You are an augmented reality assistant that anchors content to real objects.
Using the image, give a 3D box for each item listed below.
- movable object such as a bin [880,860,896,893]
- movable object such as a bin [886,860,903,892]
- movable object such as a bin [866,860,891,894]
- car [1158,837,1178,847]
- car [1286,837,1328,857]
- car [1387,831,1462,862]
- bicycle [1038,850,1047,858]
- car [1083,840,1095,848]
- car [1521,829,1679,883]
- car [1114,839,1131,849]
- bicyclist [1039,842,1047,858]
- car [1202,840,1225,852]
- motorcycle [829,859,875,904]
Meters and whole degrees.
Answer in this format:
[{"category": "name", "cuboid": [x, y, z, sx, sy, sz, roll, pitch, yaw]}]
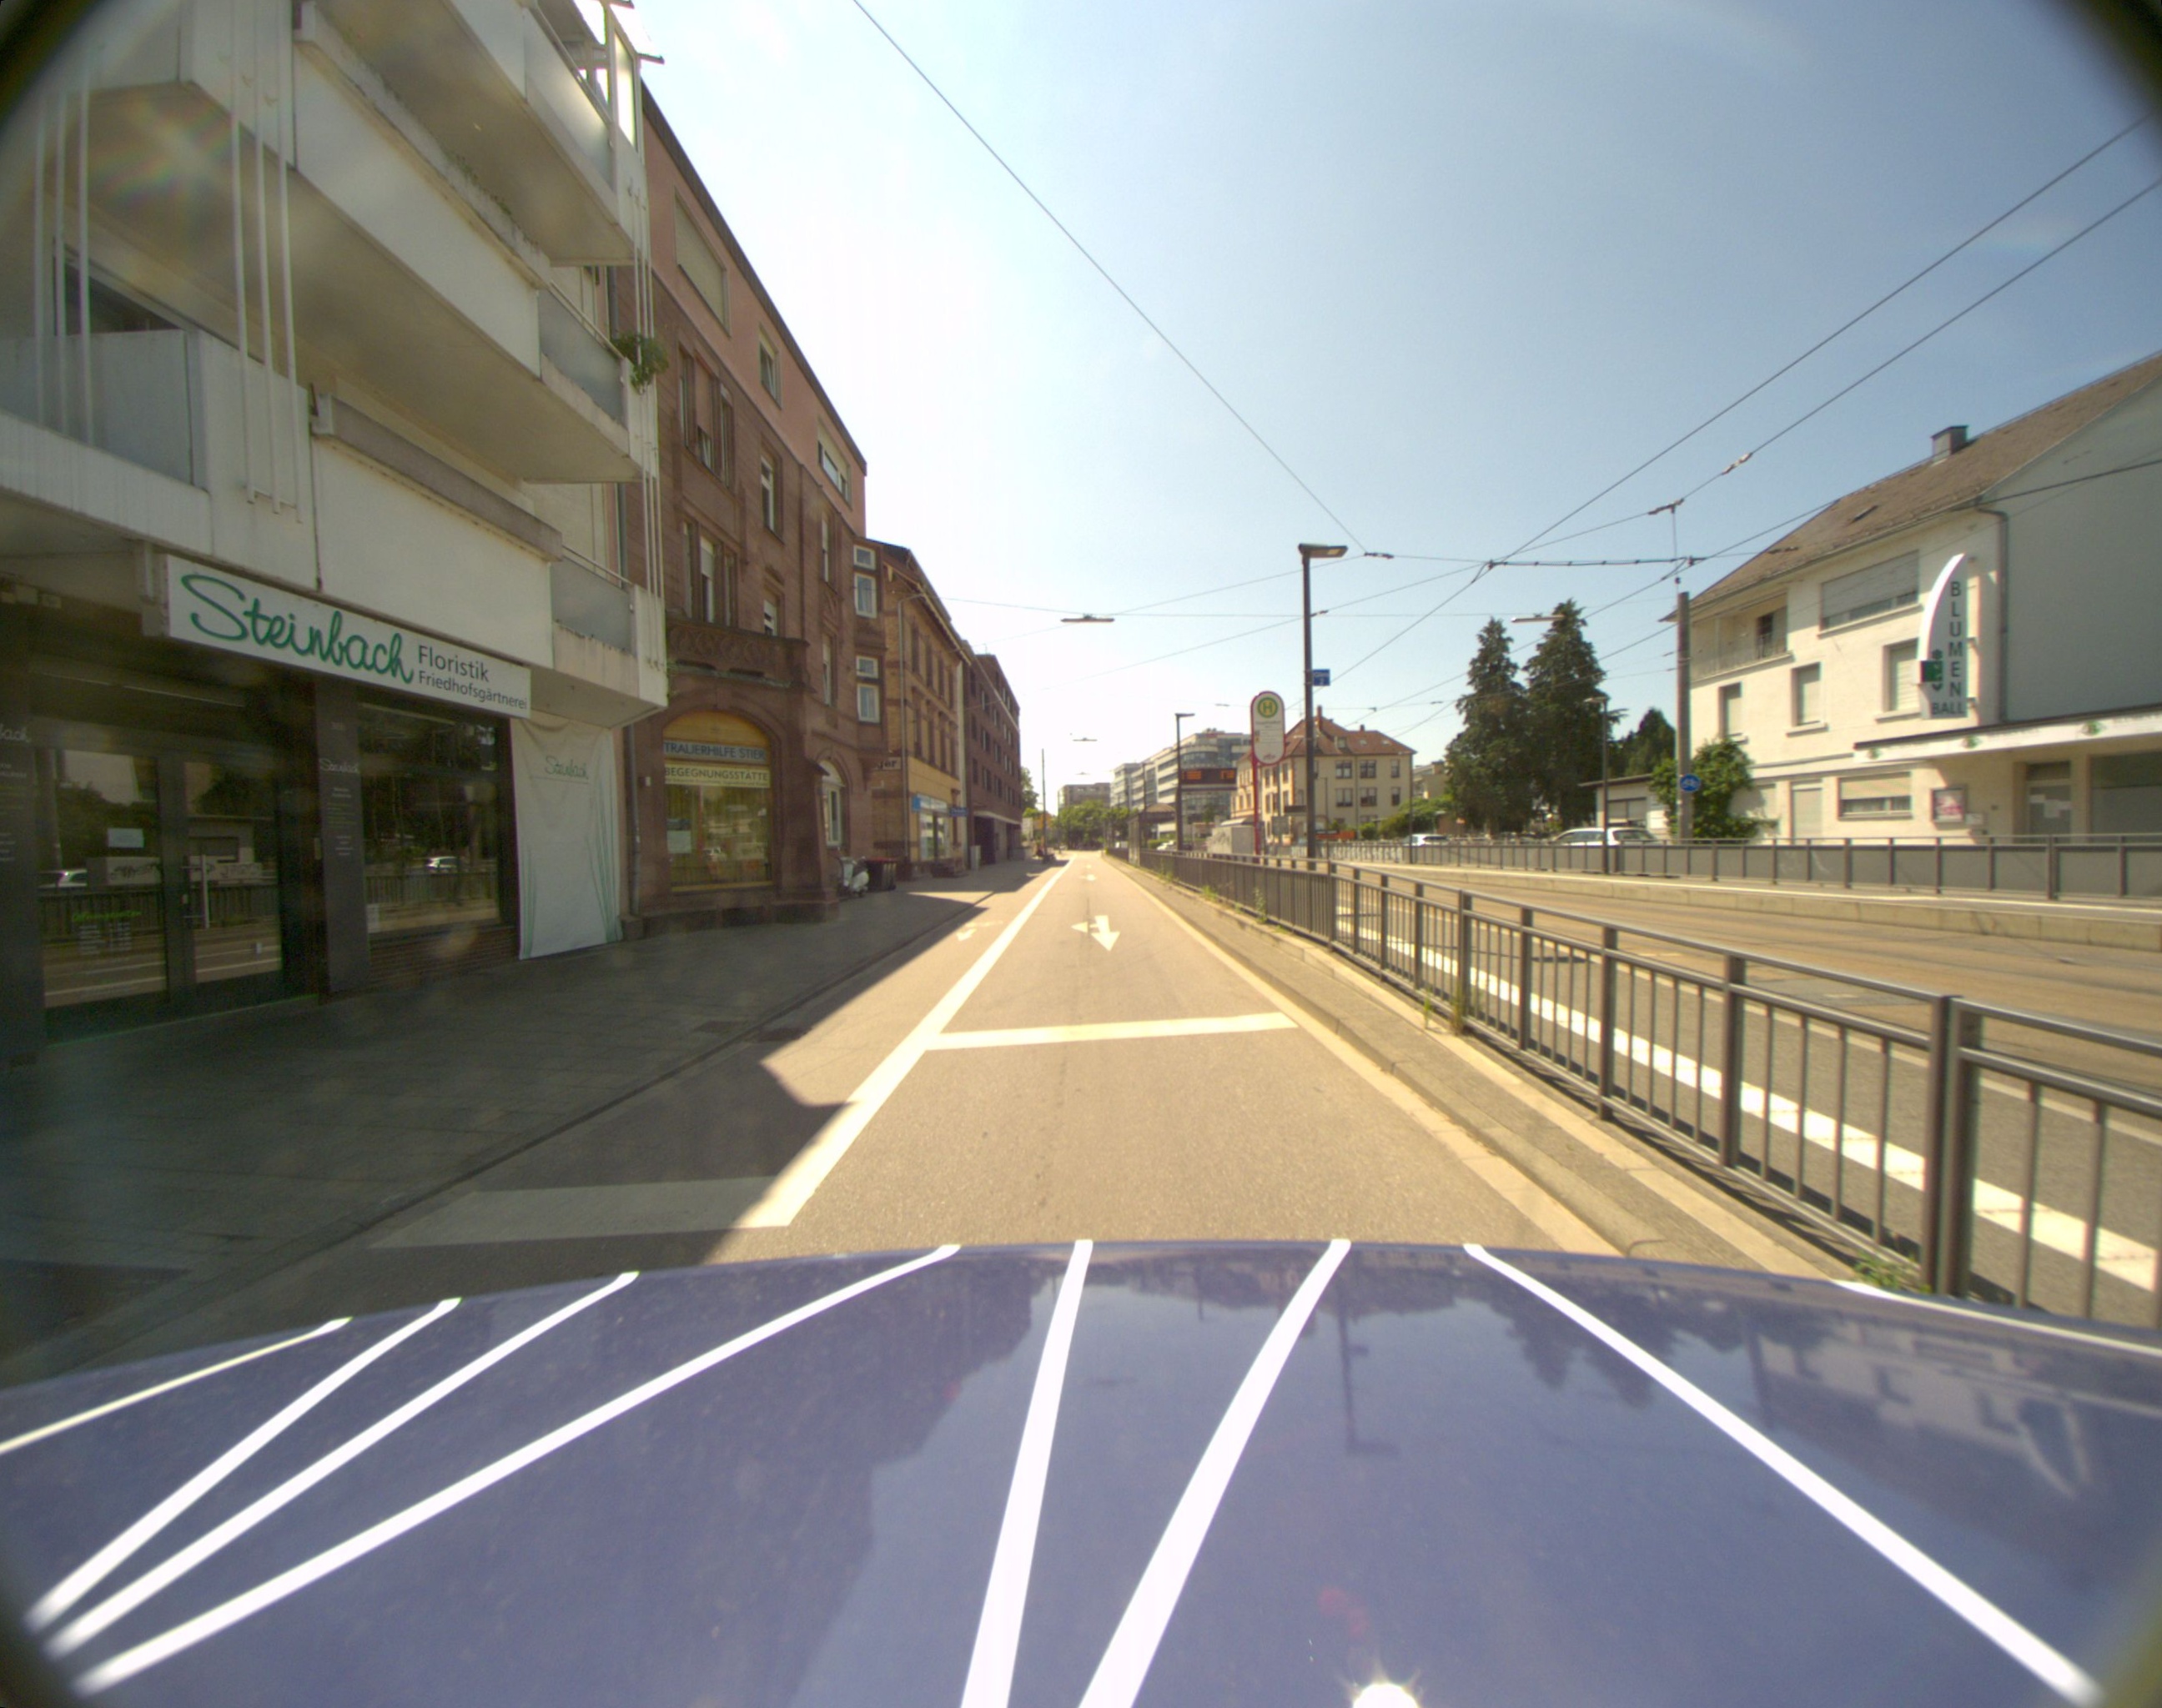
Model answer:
[{"category": "movable object such as a bin", "cuboid": [-6.291, 0.741, 24.757, 0.376, 1.042, 0.559, 1, 2, 0]}, {"category": "movable object such as a bin", "cuboid": [-6.231, 0.718, 25.405, 0.376, 1.042, 0.657, 1, 1, 0]}, {"category": "movable object such as a bin", "cuboid": [-6.427, 0.738, 24.127, 0.649, 1.042, 0.559, 1, 2, 0]}, {"category": "car", "cuboid": [12.928, -1.786, 113.303, 1.823, 1.459, 4.619, -2, 1, -7]}, {"category": "car", "cuboid": [17.025, -0.545, 57.502, 1.861, 1.434, 4.477, -2, 1, 1]}, {"category": "car", "cuboid": [16.773, -0.374, 37.362, 1.822, 1.355, 4.050, -2, 1, 0]}, {"category": "bicycle", "cuboid": [-4.075, 0.005, 81.238, 0.689, 0.793, 1.908, -2, 1, 4]}, {"category": "car", "cuboid": [1.904, -2.458, 181.694, 2.000, 1.827, 3.995, -2, 1, -12]}, {"category": "car", "cuboid": [16.145, -0.001, 23.949, 1.823, 1.481, 4.497, -2, 1, -1]}, {"category": "car", "cuboid": [7.692, -1.808, 140.993, 1.862, 1.806, 4.692, -2, 1, -12]}, {"category": "bicyclist", "cuboid": [-4.077, -0.466, 81.203, 0.671, 1.712, 0.928, -2, 1, 4]}, {"category": "car", "cuboid": [15.823, -0.989, 90.922, 1.823, 1.388, 4.173, -2, 1, -4]}, {"category": "motorcycle", "cuboid": [-6.295, 0.734, 20.969, 0.528, 1.143, 1.880, -2, 1, 5]}]
